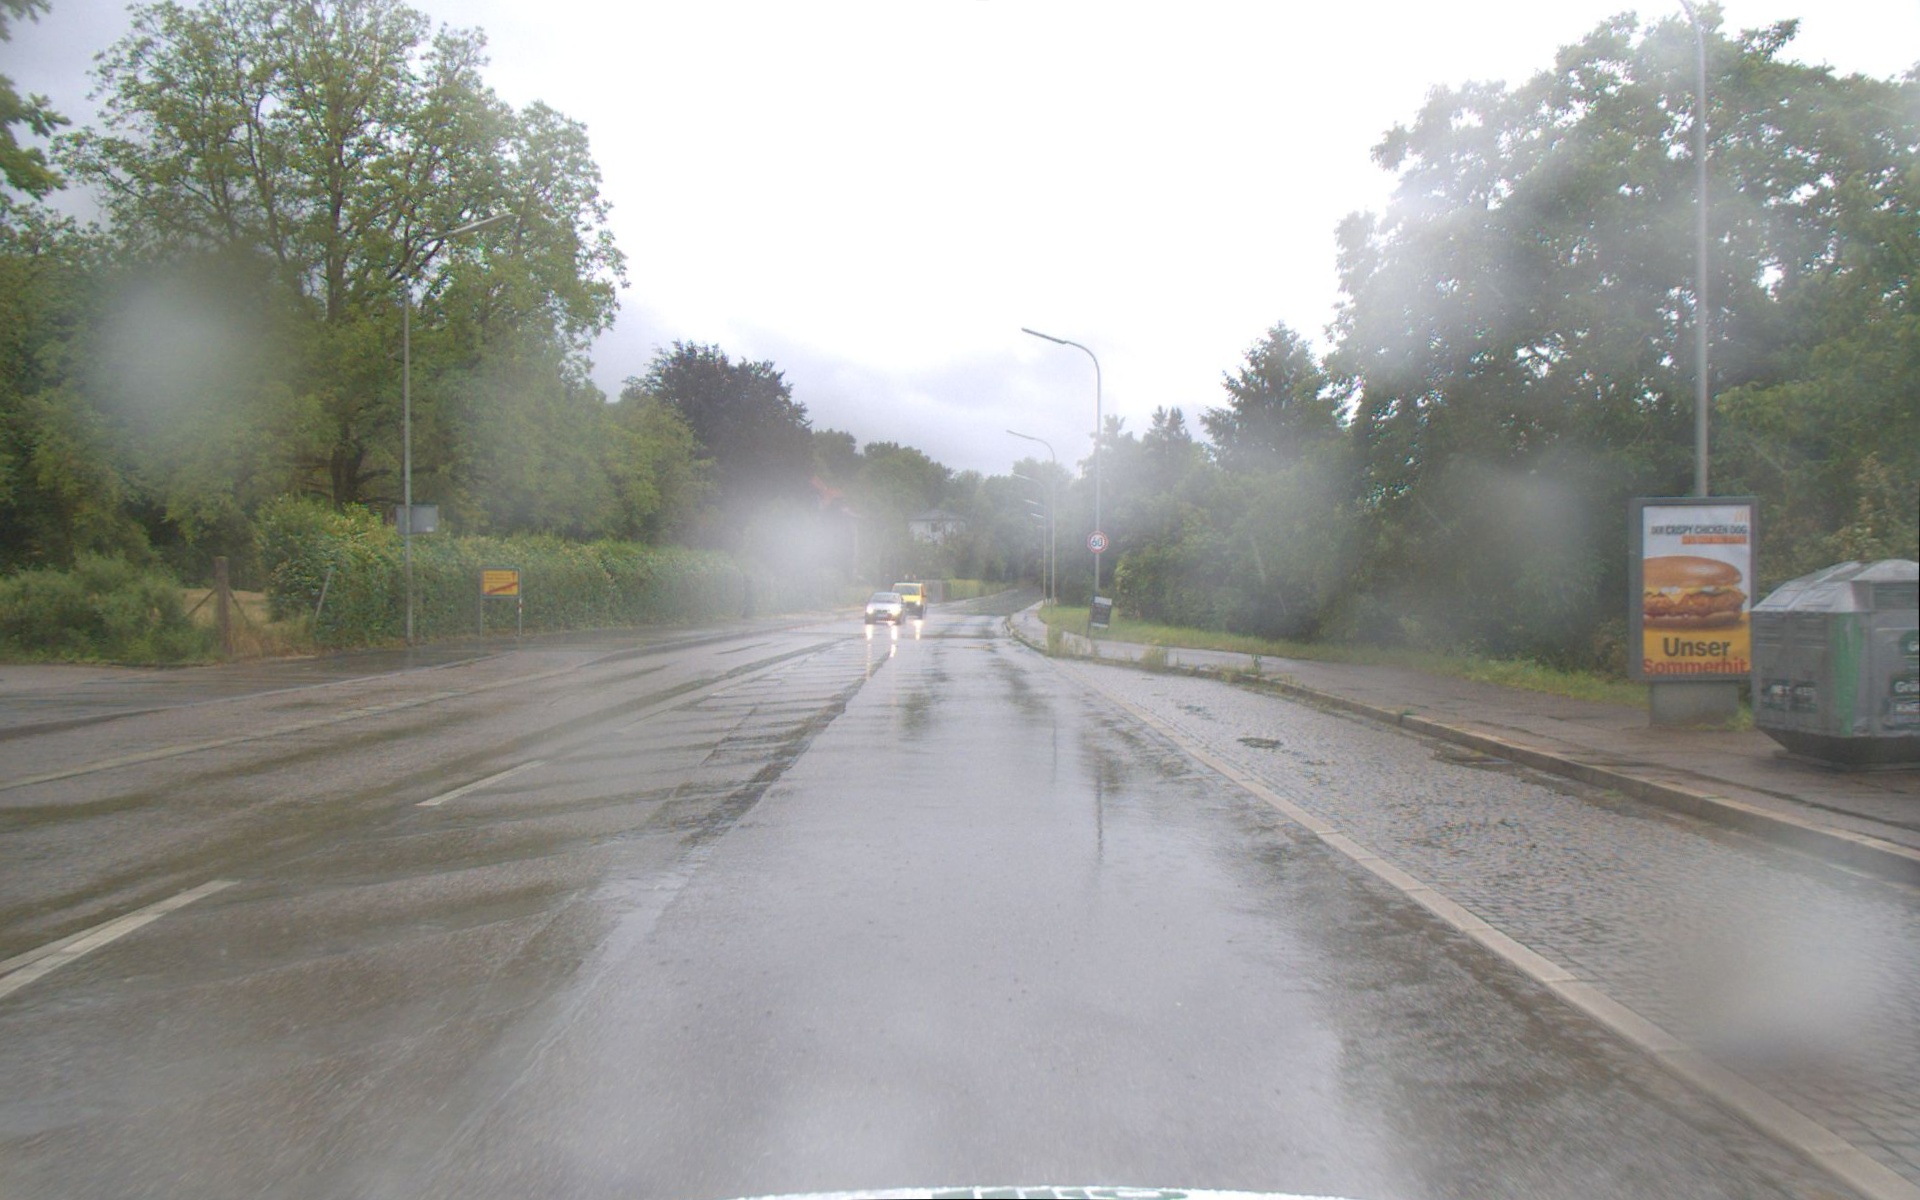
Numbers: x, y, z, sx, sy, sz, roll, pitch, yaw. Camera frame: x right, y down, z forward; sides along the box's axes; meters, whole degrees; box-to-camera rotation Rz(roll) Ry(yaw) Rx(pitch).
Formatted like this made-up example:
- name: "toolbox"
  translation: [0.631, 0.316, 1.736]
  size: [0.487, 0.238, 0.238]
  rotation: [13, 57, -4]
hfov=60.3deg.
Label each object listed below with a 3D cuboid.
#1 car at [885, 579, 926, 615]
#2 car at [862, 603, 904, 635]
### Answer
- name: "car"
  translation: [-2.976, -0.151, 91.392]
  size: [1.897, 1.904, 5.037]
  rotation: [1, 0, 2]
- name: "car"
  translation: [-3.461, 0.828, 74.768]
  size: [1.666, 1.373, 3.905]
  rotation: [1, 0, 1]
